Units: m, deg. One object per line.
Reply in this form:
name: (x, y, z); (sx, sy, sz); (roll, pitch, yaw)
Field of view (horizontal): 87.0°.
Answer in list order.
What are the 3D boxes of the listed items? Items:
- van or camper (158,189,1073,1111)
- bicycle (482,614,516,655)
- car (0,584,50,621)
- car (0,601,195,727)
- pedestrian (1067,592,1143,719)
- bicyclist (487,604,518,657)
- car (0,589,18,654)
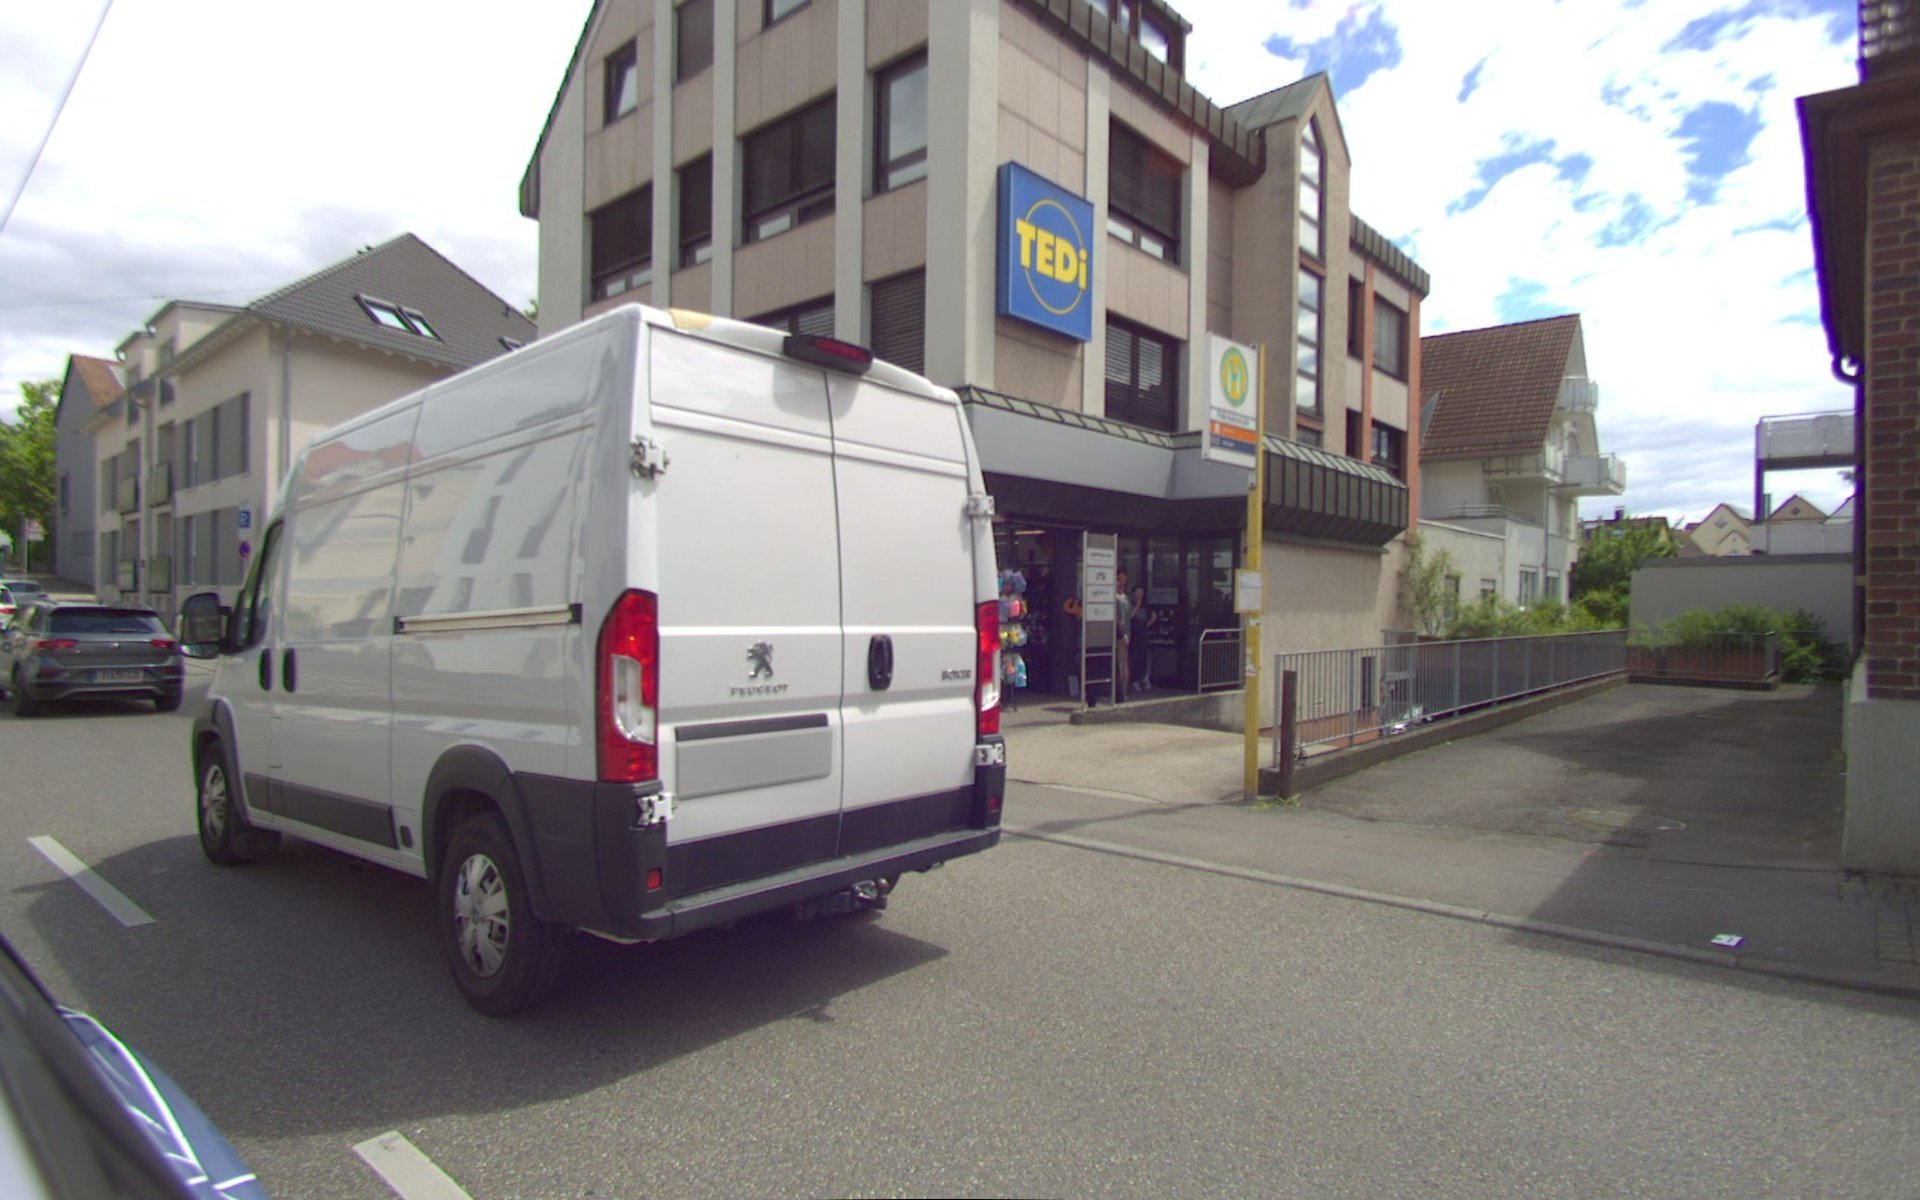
van or camper: (-2.249, 0.187, 5.409); (5.433, 2.576, 2.126); (-1, -2, 40)
bicycle: (-11.176, 0.823, 24.571); (0.451, 0.924, 1.594); (0, 0, -13)
car: (-35.450, 0.092, 37.926); (3.473, 1.340, 1.643); (0, -1, 42)
car: (-12.729, 0.816, 14.600); (3.840, 1.522, 1.773); (1, 0, 38)
pedestrian: (1.892, 0.693, 13.218); (0.565, 1.570, 0.773); (-1, 2, -41)
bicyclist: (-11.161, 0.738, 24.680); (0.631, 1.251, 0.428); (1, 1, -15)
car: (-25.771, 0.493, 25.999); (4.116, 1.625, 1.757); (1, -1, 40)
